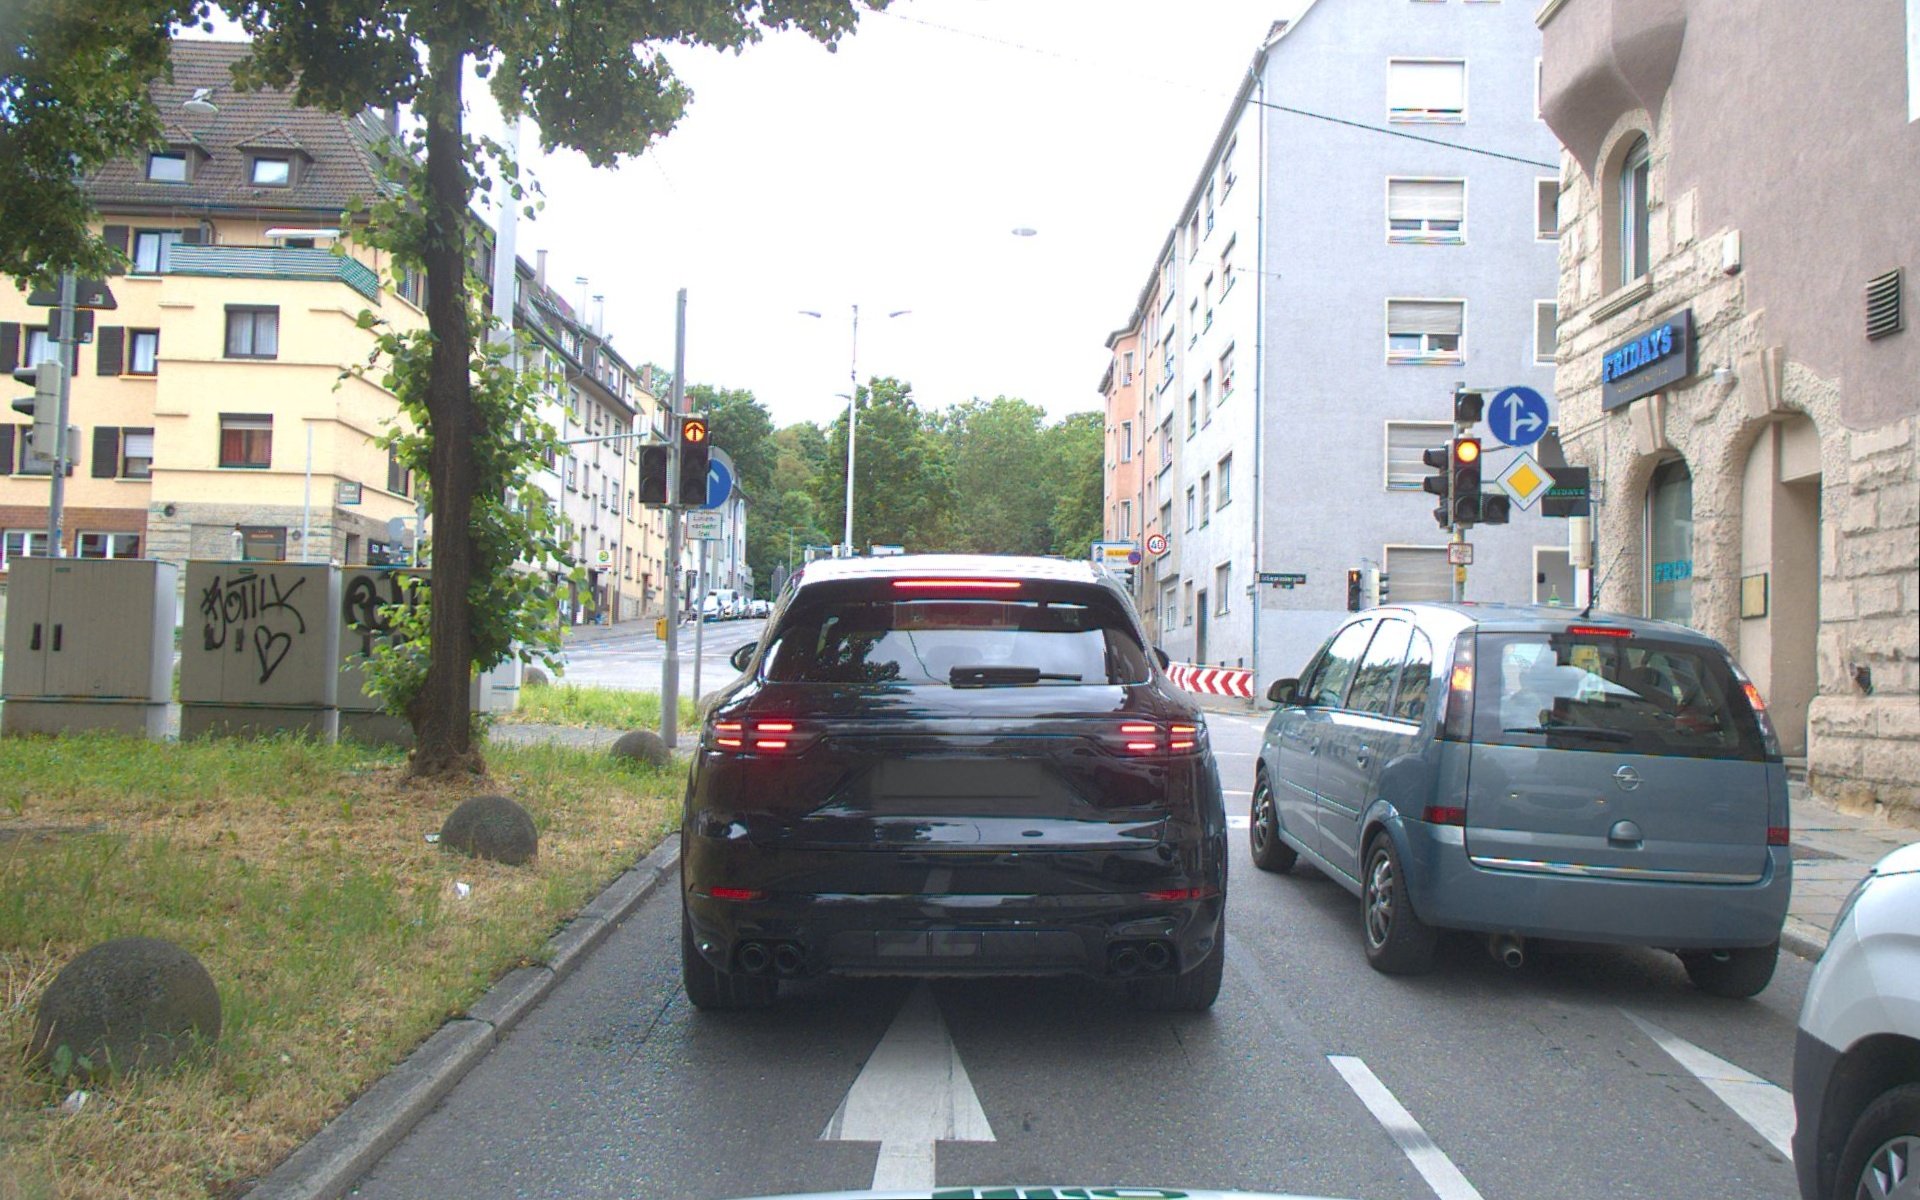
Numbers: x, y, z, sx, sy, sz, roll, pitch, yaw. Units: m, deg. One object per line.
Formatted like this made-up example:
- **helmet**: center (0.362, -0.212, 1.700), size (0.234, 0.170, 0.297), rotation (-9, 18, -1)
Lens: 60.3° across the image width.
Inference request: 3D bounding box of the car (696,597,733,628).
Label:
- **car**: center (-15.366, 0.784, 103.534), size (1.758, 1.842, 3.999), rotation (1, 0, -2)

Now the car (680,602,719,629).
- **car**: center (-15.515, 0.937, 98.505), size (1.758, 1.537, 3.999), rotation (1, 0, -2)

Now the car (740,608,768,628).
- **car**: center (-16.130, 1.402, 129.797), size (1.758, 1.537, 3.999), rotation (1, 0, -2)

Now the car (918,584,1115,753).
- **car**: center (0.586, 0.716, 18.520), size (1.953, 1.682, 4.000), rotation (0, -1, 1)

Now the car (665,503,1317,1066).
- **car**: center (0.115, 0.549, 6.981), size (1.953, 1.682, 4.000), rotation (0, 0, 1)

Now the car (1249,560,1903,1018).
- **car**: center (2.673, 0.741, 8.119), size (1.717, 1.621, 3.629), rotation (4, -1, -1)

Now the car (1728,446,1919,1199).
- **car**: center (2.823, 0.581, 1.880), size (1.811, 1.857, 5.022), rotation (2, -2, 4)

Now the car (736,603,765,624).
- **car**: center (-15.821, 0.990, 124.908), size (1.758, 1.537, 3.999), rotation (1, 0, -2)
